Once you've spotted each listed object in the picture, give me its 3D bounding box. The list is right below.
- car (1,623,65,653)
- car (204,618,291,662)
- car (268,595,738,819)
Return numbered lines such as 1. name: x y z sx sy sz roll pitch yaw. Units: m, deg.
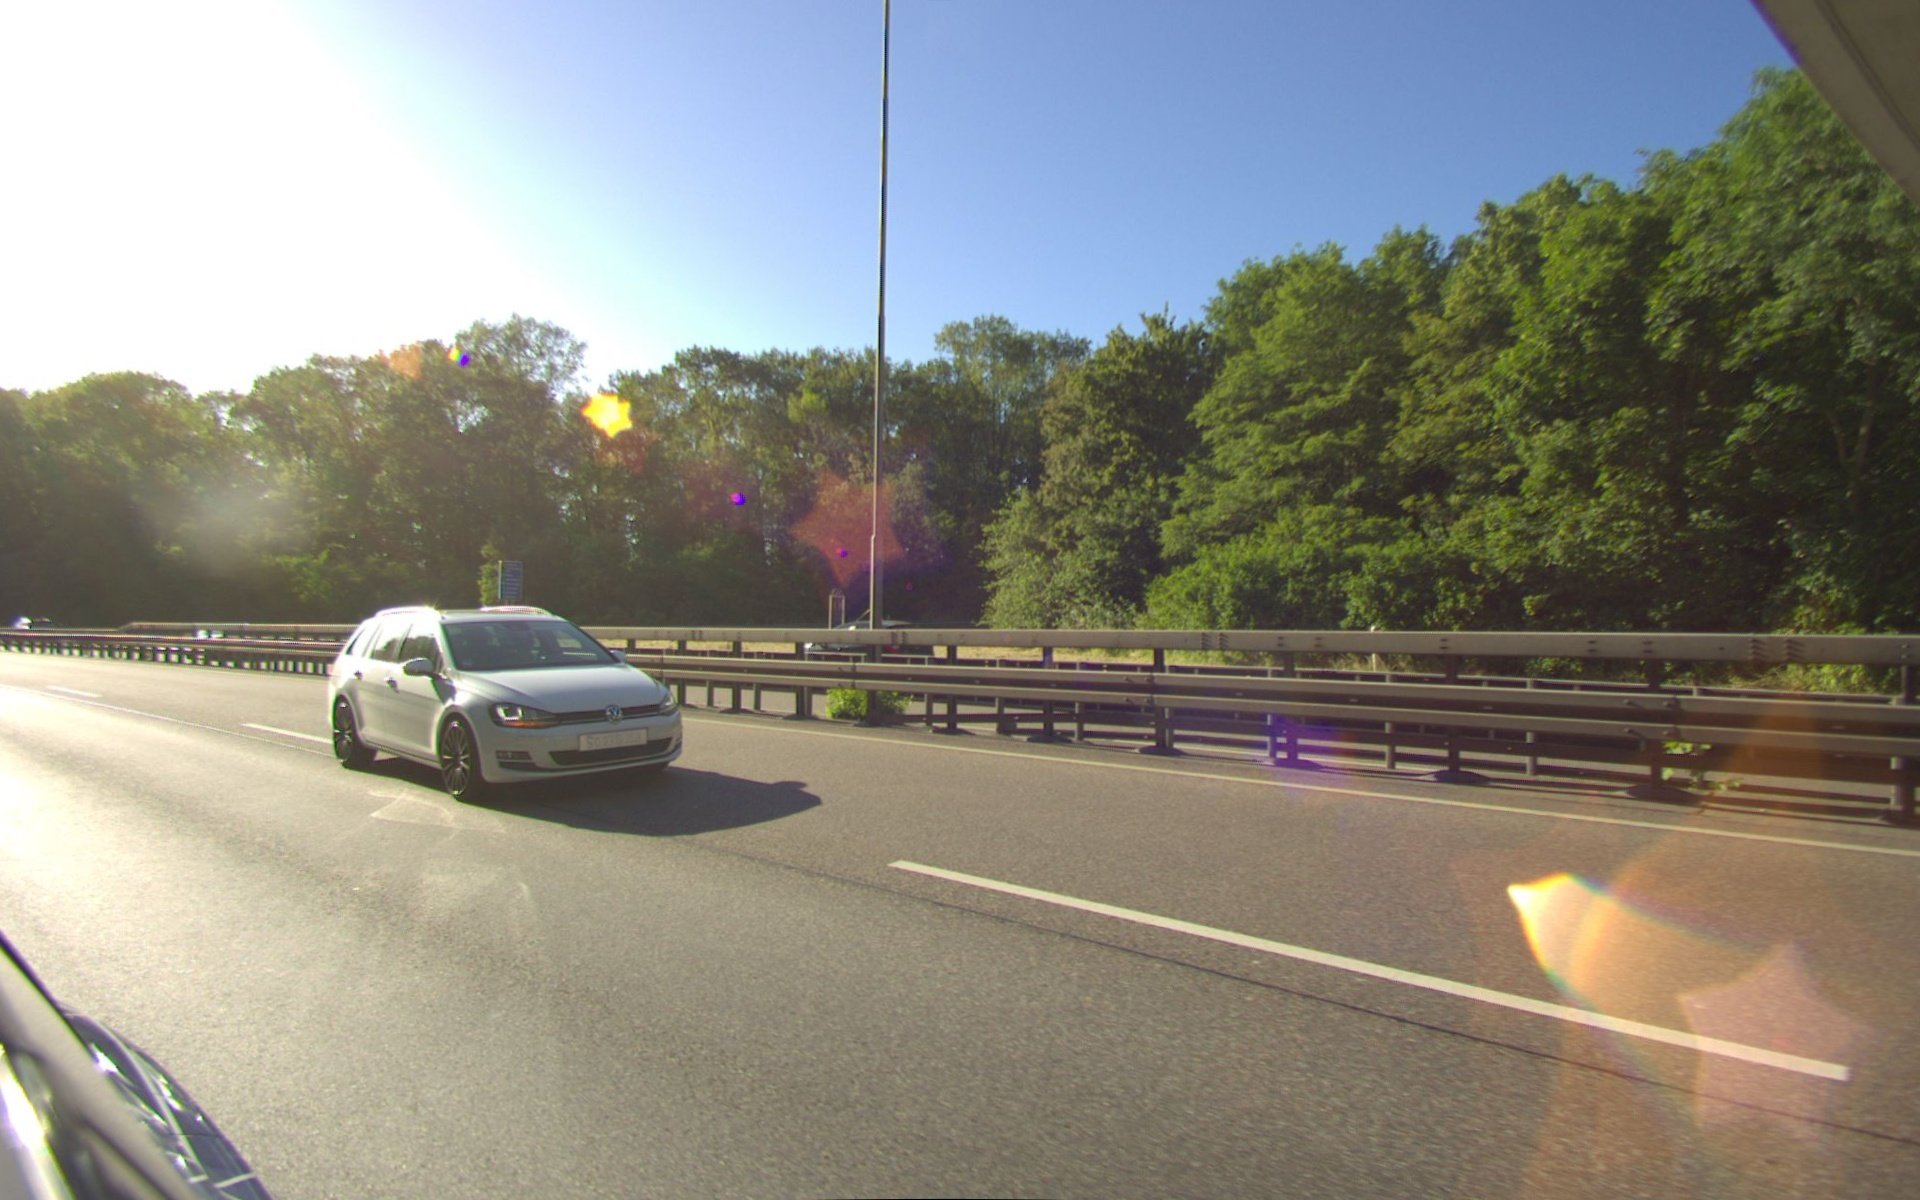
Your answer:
1. car: -62.536 2.528 68.268 5.296 1.862 1.977 -1 0 34
2. car: -29.014 1.568 41.157 4.288 1.608 1.973 0 0 41
3. car: -4.550 0.772 9.475 5.597 1.519 1.909 -1 -1 42
